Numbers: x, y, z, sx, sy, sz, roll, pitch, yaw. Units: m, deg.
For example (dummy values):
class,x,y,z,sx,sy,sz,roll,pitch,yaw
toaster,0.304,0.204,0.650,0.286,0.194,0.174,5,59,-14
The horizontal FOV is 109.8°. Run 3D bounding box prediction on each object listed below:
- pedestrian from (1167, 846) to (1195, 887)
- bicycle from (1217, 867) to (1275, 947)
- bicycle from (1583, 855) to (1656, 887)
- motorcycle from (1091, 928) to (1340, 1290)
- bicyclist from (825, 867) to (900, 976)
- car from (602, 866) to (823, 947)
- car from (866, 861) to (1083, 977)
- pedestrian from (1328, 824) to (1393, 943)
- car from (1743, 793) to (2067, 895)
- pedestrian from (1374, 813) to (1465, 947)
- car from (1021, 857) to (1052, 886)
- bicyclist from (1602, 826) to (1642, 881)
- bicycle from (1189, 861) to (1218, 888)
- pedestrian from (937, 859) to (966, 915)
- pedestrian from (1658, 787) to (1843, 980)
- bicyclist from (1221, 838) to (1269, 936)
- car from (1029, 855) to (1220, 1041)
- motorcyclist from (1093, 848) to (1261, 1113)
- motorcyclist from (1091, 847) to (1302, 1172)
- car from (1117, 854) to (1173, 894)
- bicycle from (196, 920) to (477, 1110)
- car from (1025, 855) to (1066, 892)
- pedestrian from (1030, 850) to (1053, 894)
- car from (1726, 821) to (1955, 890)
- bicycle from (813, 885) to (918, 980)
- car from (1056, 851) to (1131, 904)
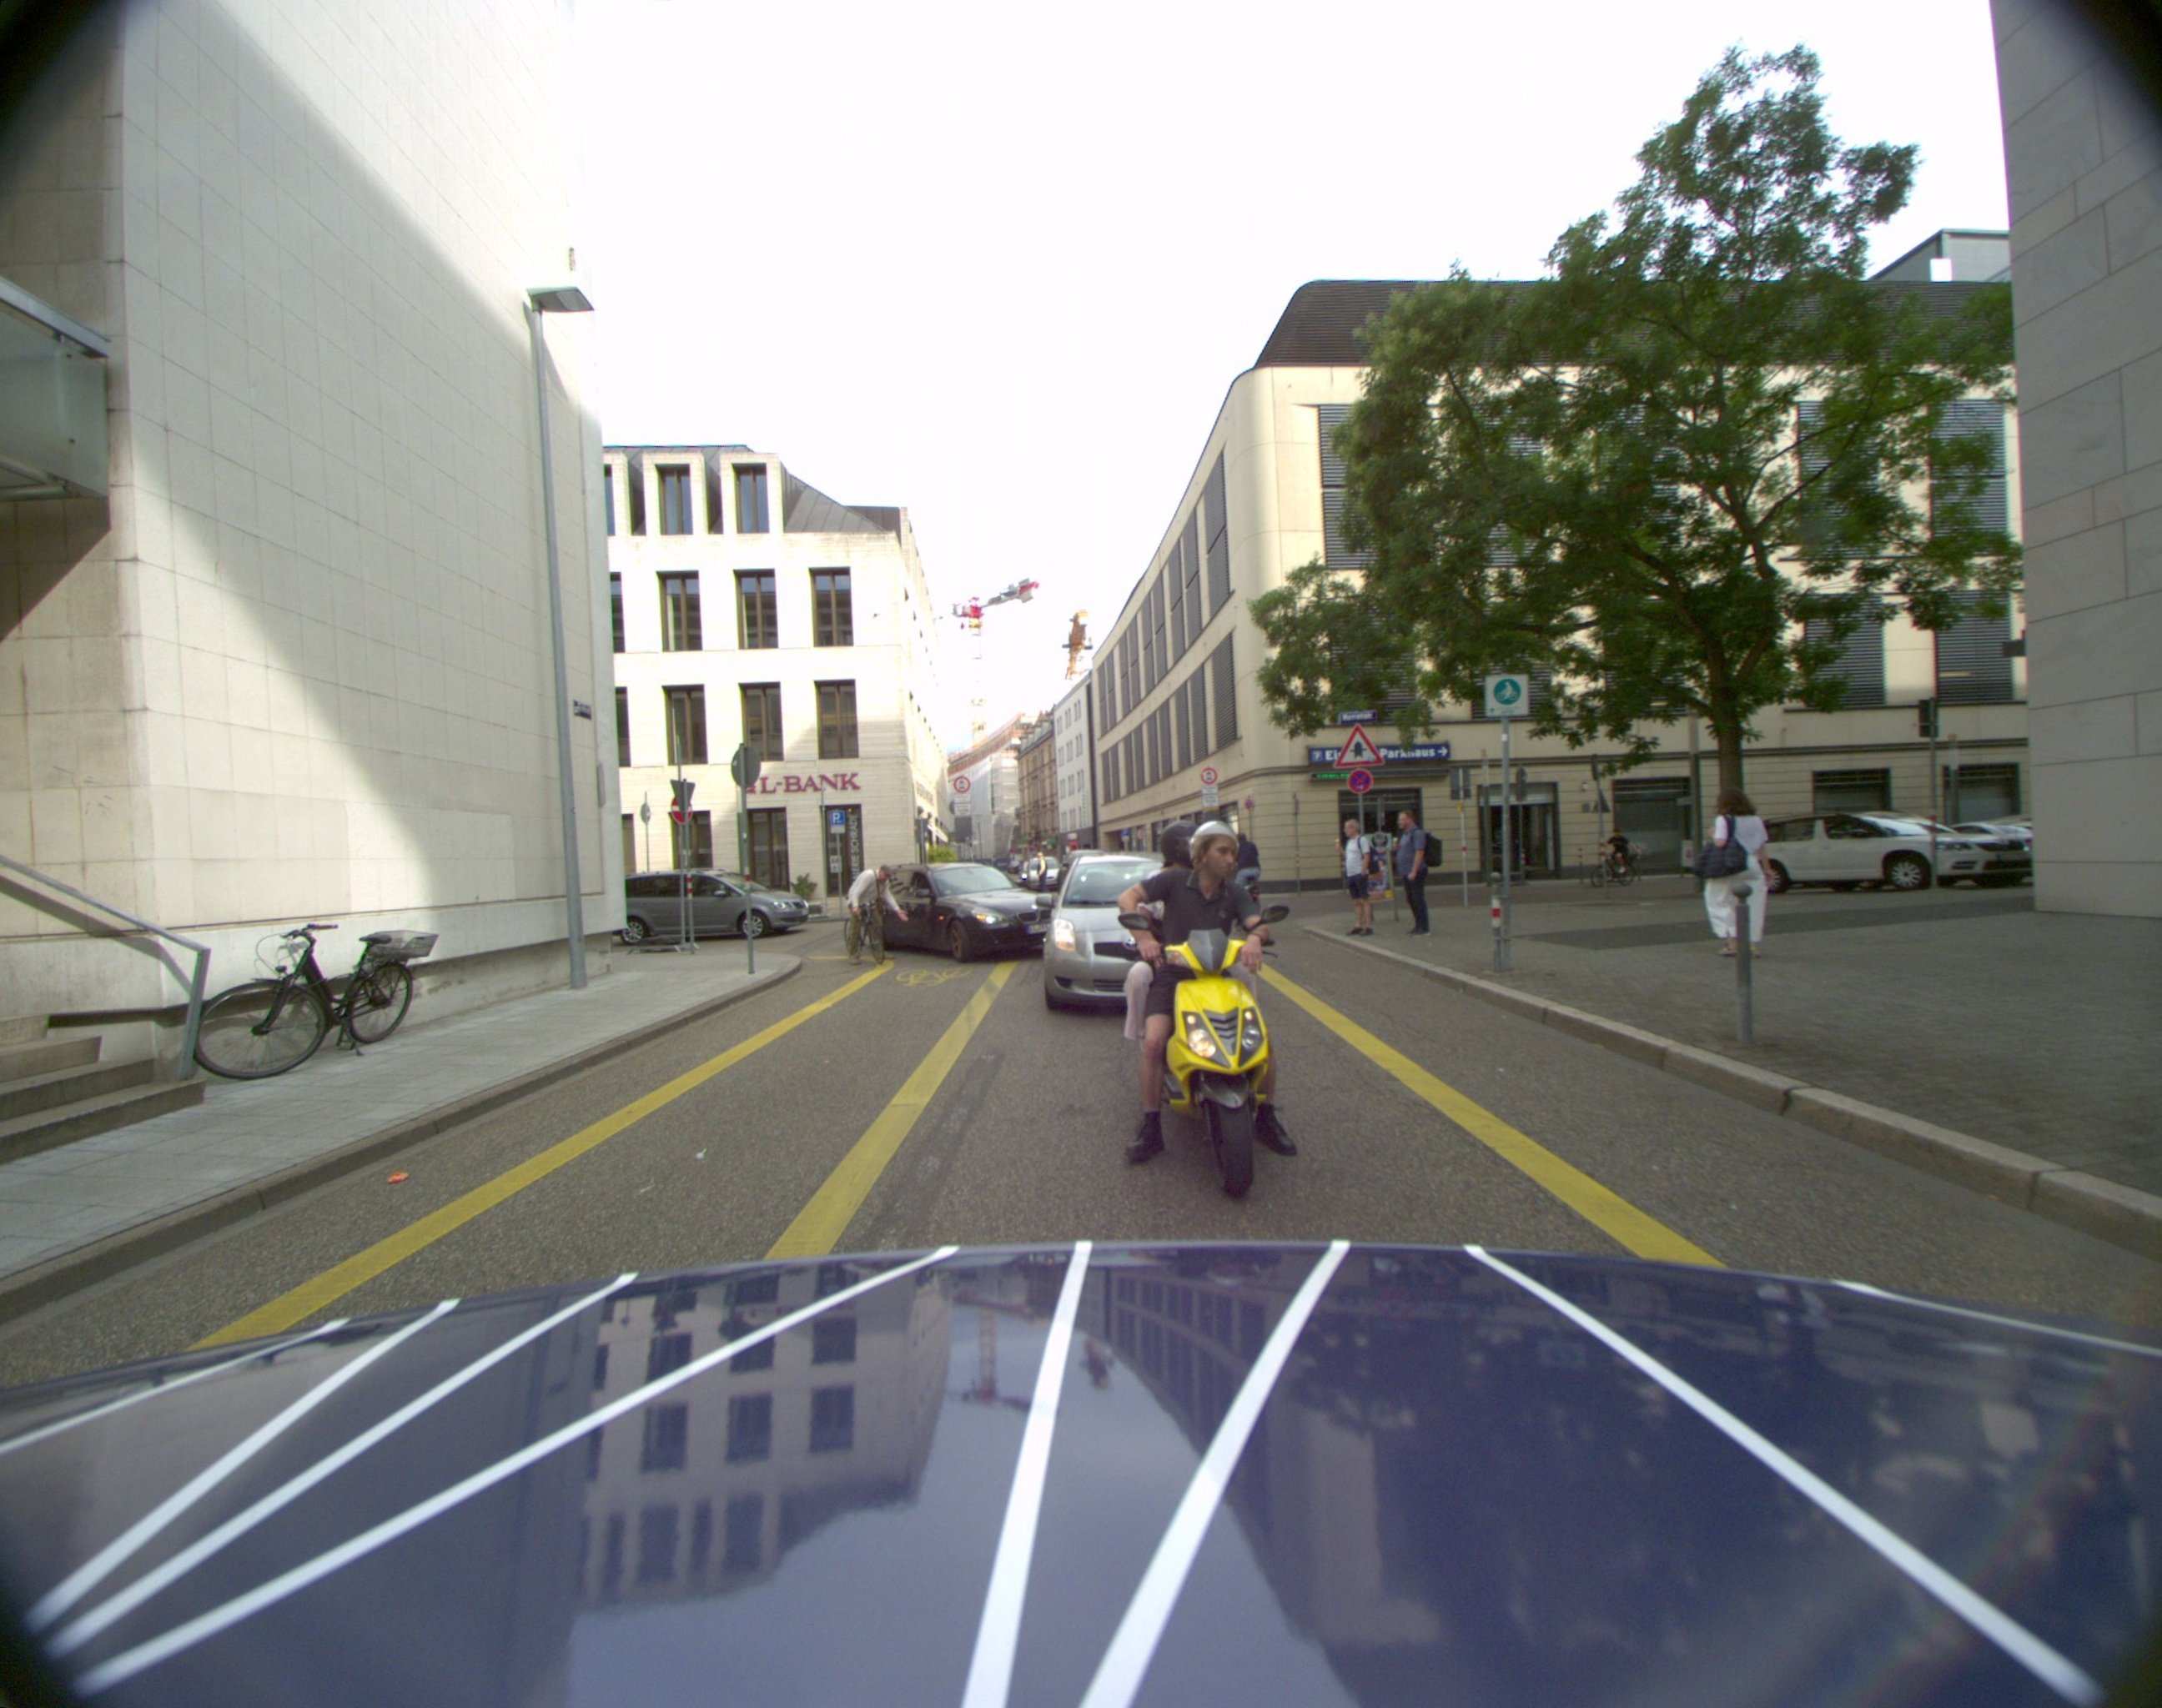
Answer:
class,x,y,z,sx,sy,sz,roll,pitch,yaw
pedestrian,4.612,0.562,34.982,0.892,1.755,1.060,-6,1,-6
bicycle,2.841,0.875,13.224,0.648,1.233,1.953,0,1,2
bicycle,16.422,0.525,23.186,1.723,0.829,0.602,-5,-2,0
motorcycle,0.528,1.070,3.937,0.929,1.158,2.127,-1,0,1
bicyclist,-3.433,1.017,11.918,0.894,1.585,0.875,-3,1,-30
car,-8.437,1.182,17.709,4.193,1.581,1.814,-2,1,-2
car,-1.848,0.923,12.203,1.720,1.482,3.755,-3,1,-38
pedestrian,4.328,0.442,11.787,0.644,1.755,0.653,-3,1,-11
car,15.909,-0.075,15.057,1.899,1.682,3.964,-2,-3,-3
pedestrian,4.871,0.364,10.974,0.745,1.804,0.756,-6,1,-11
car,-2.582,0.970,43.565,1.589,1.477,3.997,-2,1,-6
bicyclist,16.500,-0.008,23.183,0.643,1.609,0.623,-5,0,0
bicycle,5.350,0.876,33.282,0.692,1.038,2.543,-2,1,-4
pedestrian,-4.415,1.099,25.895,0.774,1.820,0.860,-3,1,-20
pedestrian,6.526,0.269,7.466,0.879,1.699,0.910,-6,1,0
bicyclist,2.834,0.554,13.213,0.644,1.644,0.939,0,1,2
car,0.431,0.806,8.362,1.562,1.482,3.784,-3,1,2
motorcyclist,0.531,0.693,4.529,0.903,1.445,0.742,-1,0,1
motorcyclist,0.522,0.697,3.917,0.924,1.445,1.065,-1,0,1
car,2.714,0.803,33.126,1.563,1.547,4.100,-3,1,-7
bicycle,-6.028,1.229,6.328,0.590,1.160,1.814,-2,1,-4
car,-1.743,0.885,35.934,1.563,1.547,4.100,-3,1,-7
pedestrian,-1.655,0.748,31.959,0.861,1.820,0.774,-2,1,-3
car,20.094,0.027,20.229,4.364,1.572,1.814,-2,1,-2
bicycle,-3.472,1.149,12.010,0.872,1.188,2.857,-3,1,-30
car,0.317,0.686,24.367,1.710,1.482,4.100,-3,1,-8
